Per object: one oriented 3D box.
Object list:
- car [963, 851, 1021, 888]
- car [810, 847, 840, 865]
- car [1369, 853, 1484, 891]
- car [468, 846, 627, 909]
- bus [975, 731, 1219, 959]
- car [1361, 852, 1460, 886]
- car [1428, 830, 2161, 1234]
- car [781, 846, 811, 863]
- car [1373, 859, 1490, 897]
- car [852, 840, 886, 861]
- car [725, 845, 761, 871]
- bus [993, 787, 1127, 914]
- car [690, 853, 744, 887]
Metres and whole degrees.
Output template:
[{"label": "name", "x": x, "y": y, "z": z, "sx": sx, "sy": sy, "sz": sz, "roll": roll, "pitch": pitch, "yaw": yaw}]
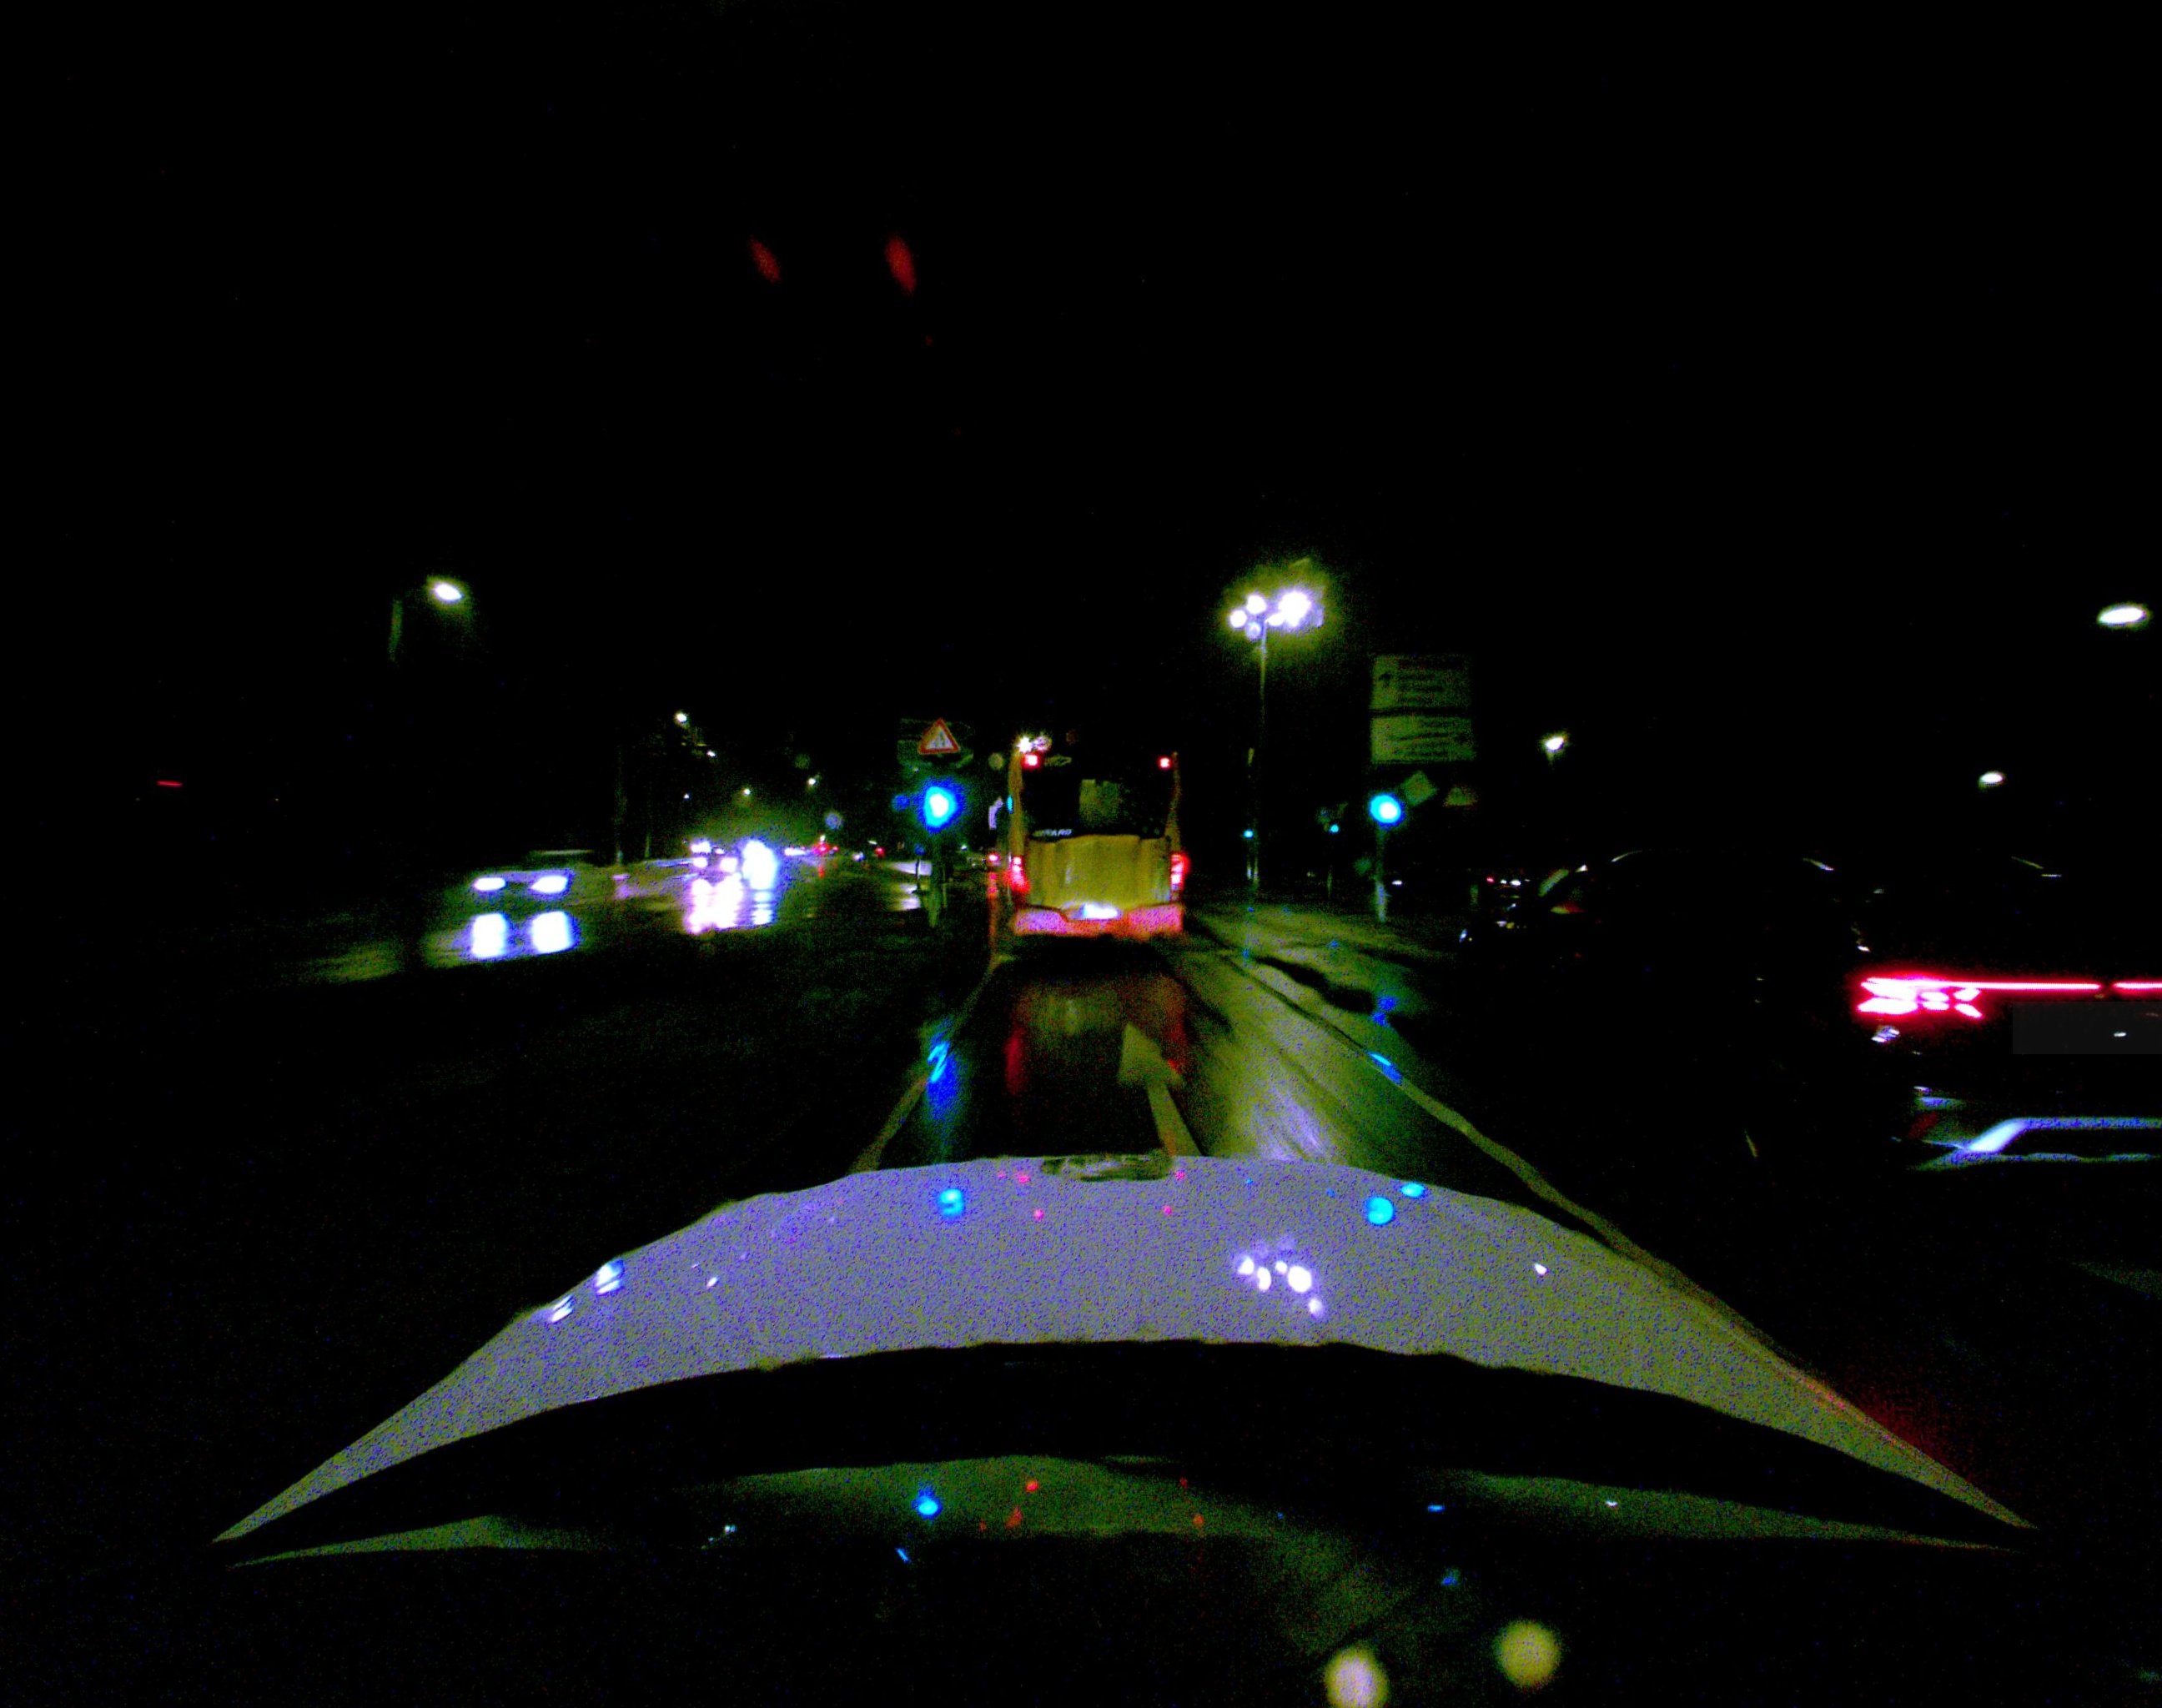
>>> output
[{"label": "car", "x": -5.282, "y": 0.883, "z": 47.640, "sx": 2.004, "sy": 2.014, "sz": 4.311, "roll": 2, "pitch": -1, "yaw": -26}, {"label": "car", "x": -25.360, "y": 0.199, "z": 80.467, "sx": 1.828, "sy": 1.618, "sz": 3.959, "roll": 2, "pitch": -1, "yaw": -32}, {"label": "car", "x": 15.796, "y": 0.804, "z": 37.398, "sx": 4.470, "sy": 1.519, "sz": 1.856, "roll": 2, "pitch": 1, "yaw": -2}, {"label": "car", "x": -14.101, "y": 0.534, "z": 21.866, "sx": 1.789, "sy": 1.456, "sz": 4.563, "roll": -2, "pitch": 1, "yaw": -9}, {"label": "bus", "x": -0.070, "y": -0.088, "z": 15.934, "sx": 3.279, "sy": 3.050, "sz": 9.529, "roll": -2, "pitch": -1, "yaw": -4}, {"label": "car", "x": 16.326, "y": 0.739, "z": 40.501, "sx": 4.152, "sy": 1.519, "sz": 1.856, "roll": 2, "pitch": 1, "yaw": -2}, {"label": "car", "x": 3.887, "y": 0.720, "z": 5.106, "sx": 1.672, "sy": 1.521, "sz": 3.958, "roll": 1, "pitch": -1, "yaw": -1}, {"label": "car", "x": -31.014, "y": 0.047, "z": 88.594, "sx": 2.104, "sy": 1.644, "sz": 3.691, "roll": 5, "pitch": -2, "yaw": -34}, {"label": "car", "x": 14.327, "y": 0.959, "z": 33.425, "sx": 4.031, "sy": 1.345, "sz": 1.746, "roll": 2, "pitch": 1, "yaw": -2}, {"label": "car", "x": -17.357, "y": -0.248, "z": 66.594, "sx": 1.825, "sy": 1.618, "sz": 3.965, "roll": 2, "pitch": -1, "yaw": -27}, {"label": "car", "x": -20.650, "y": 0.245, "z": 49.874, "sx": 1.785, "sy": 1.460, "sz": 4.447, "roll": 3, "pitch": -1, "yaw": -20}, {"label": "bus", "x": -0.989, "y": -0.160, "z": 25.133, "sx": 3.244, "sy": 3.120, "sz": 8.625, "roll": 2, "pitch": 1, "yaw": -7}, {"label": "car", "x": -17.212, "y": 0.742, "z": 38.671, "sx": 1.794, "sy": 1.457, "sz": 4.550, "roll": -1, "pitch": -1, "yaw": -17}]
